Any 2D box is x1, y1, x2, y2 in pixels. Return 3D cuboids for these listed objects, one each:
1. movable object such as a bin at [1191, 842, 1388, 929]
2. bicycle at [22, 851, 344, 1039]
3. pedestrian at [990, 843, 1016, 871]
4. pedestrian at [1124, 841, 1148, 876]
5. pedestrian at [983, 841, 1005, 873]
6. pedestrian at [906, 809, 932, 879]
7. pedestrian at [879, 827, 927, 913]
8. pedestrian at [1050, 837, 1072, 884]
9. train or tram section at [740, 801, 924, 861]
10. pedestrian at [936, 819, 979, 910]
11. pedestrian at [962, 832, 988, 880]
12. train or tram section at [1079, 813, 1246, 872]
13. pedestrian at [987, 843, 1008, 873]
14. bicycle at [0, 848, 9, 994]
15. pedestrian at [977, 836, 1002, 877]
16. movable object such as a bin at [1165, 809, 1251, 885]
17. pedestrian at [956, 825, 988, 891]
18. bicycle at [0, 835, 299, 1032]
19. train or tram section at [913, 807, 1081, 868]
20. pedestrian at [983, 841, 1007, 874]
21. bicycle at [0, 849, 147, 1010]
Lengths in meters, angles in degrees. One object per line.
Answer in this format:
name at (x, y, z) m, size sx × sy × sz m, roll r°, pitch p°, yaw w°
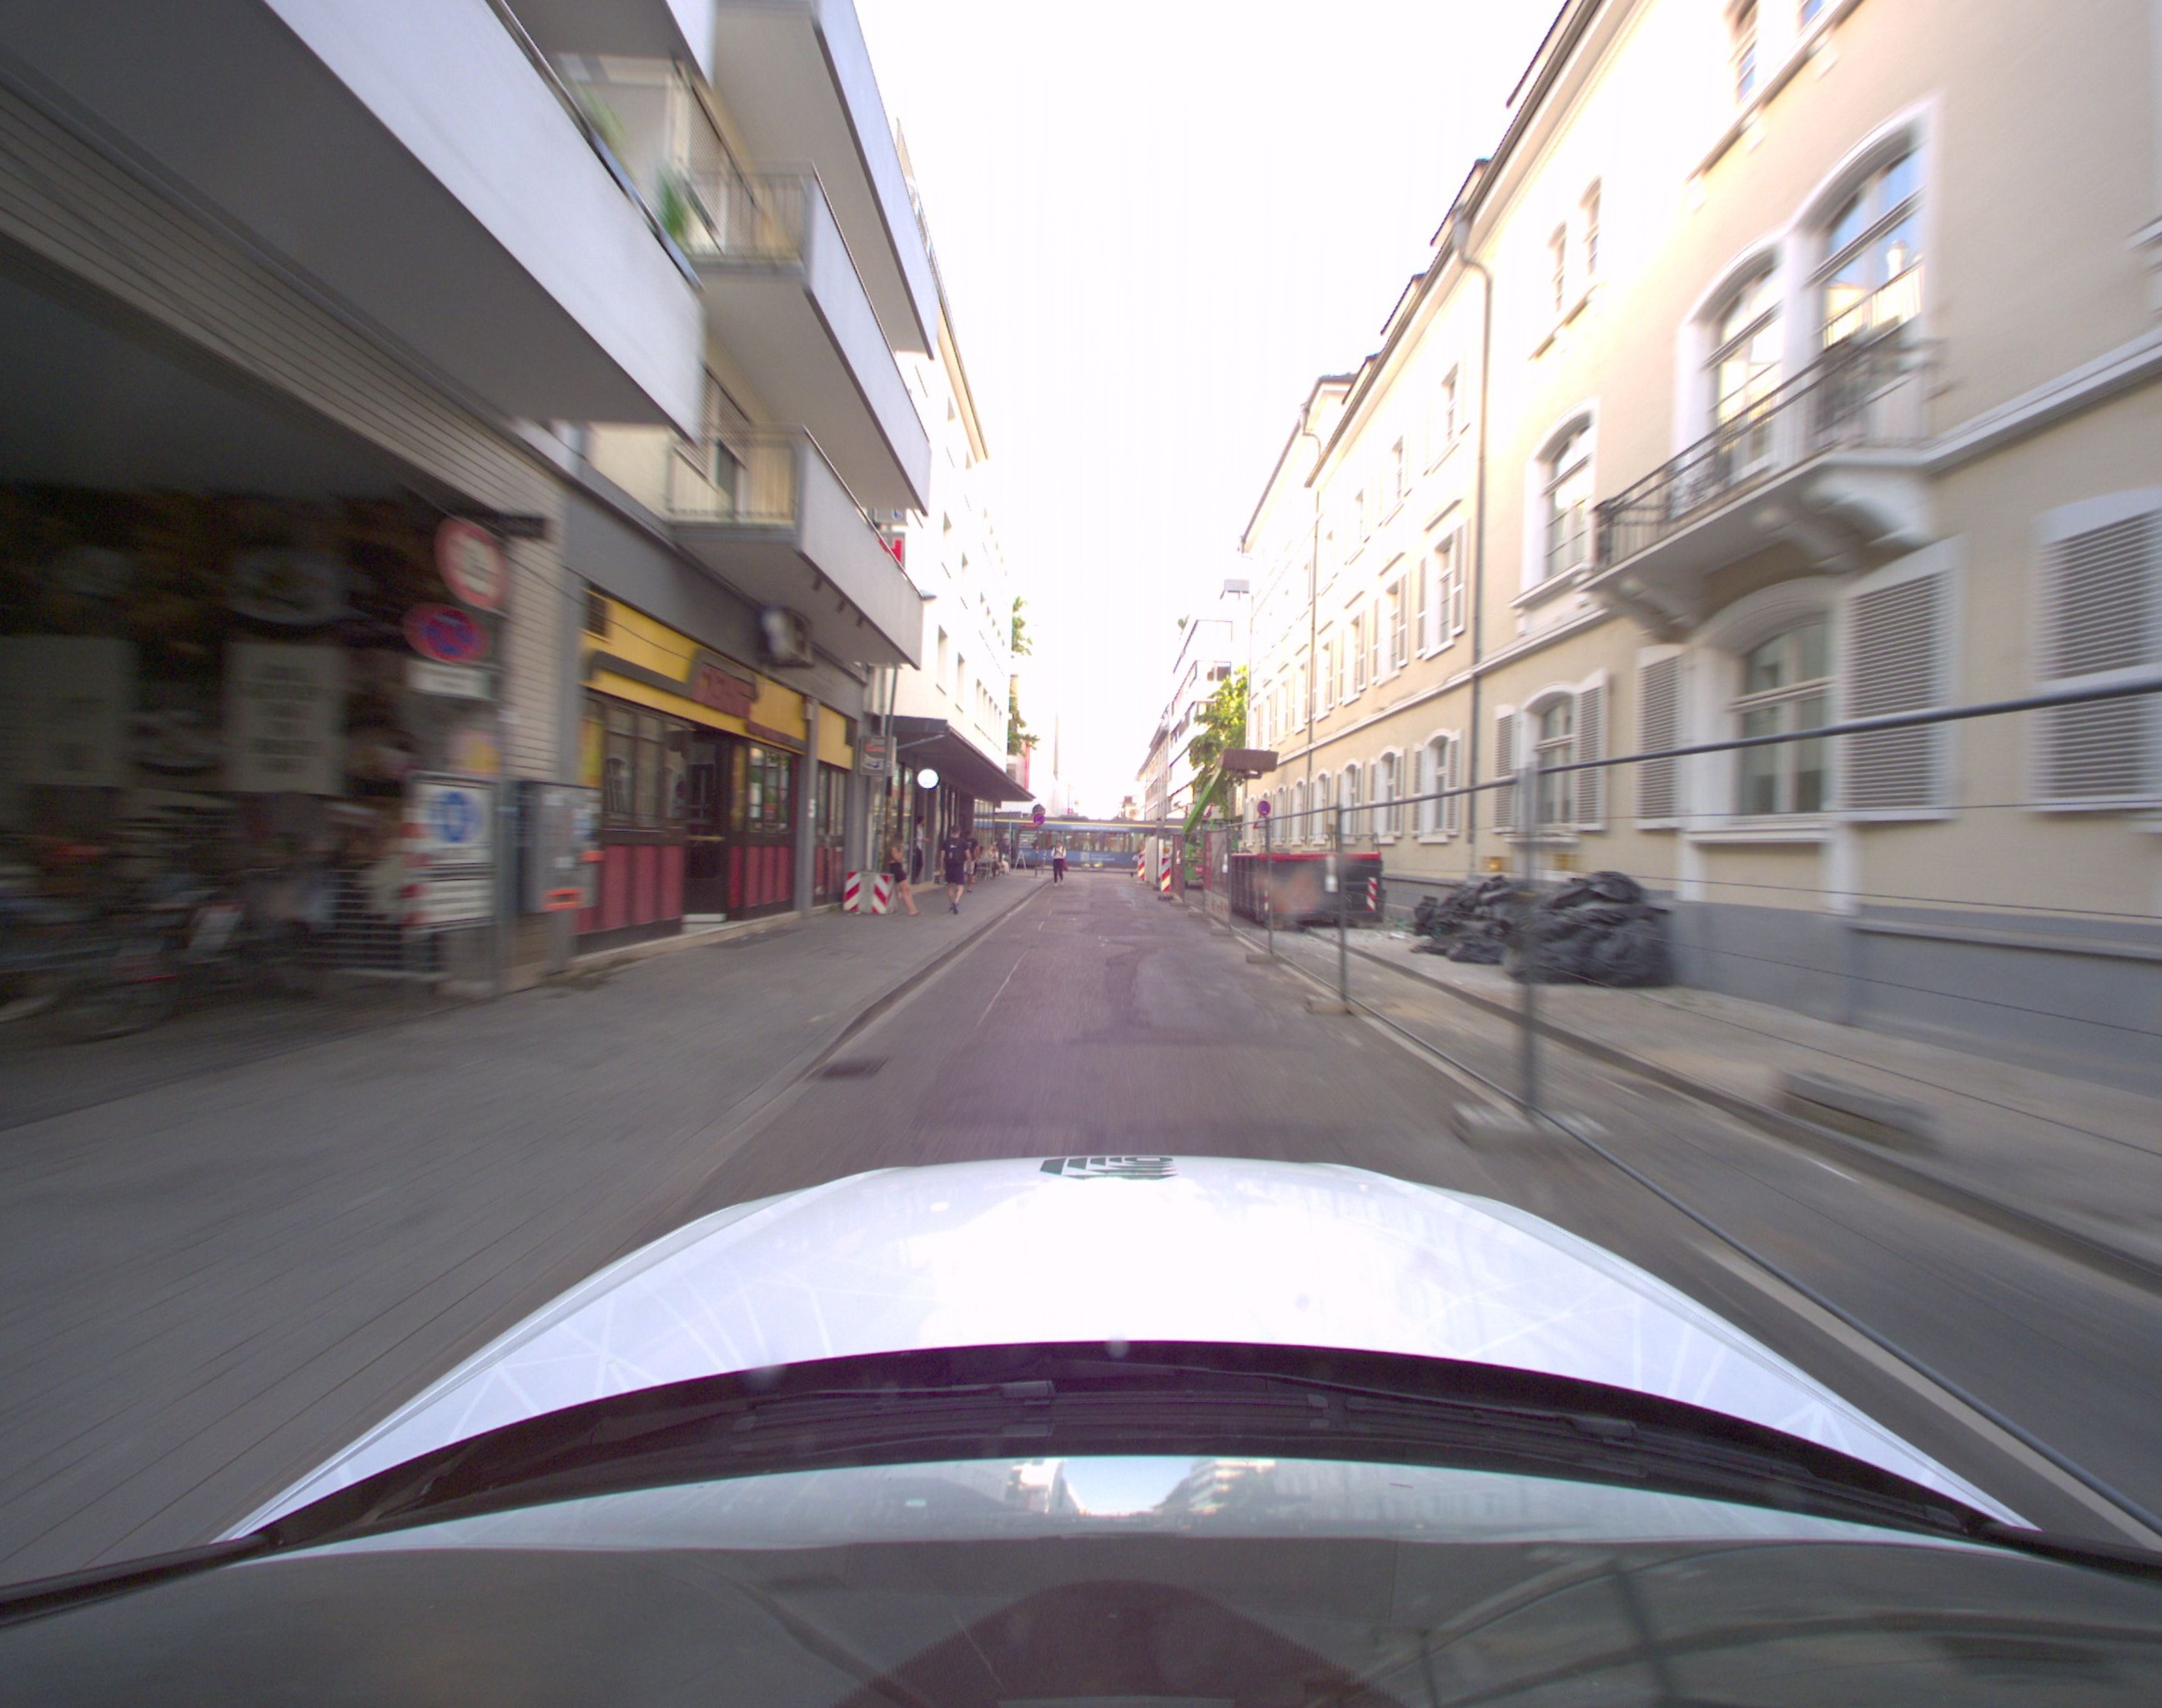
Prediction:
movable object such as a bin at (4.627, 0.568, 19.818) m, size 2.882 × 1.664 × 7.292 m, roll 1°, pitch 1°, yaw 0°
bicycle at (-5.769, 0.515, 5.365) m, size 0.441 × 1.038 × 1.464 m, roll 3°, pitch 1°, yaw 0°
pedestrian at (-3.436, 0.141, 35.889) m, size 0.697 × 1.219 × 0.847 m, roll 2°, pitch 1°, yaw 38°
pedestrian at (2.743, 0.211, 40.835) m, size 1.137 × 1.739 × 0.759 m, roll 0°, pitch 0°, yaw 2°
pedestrian at (-3.598, 0.113, 33.726) m, size 0.701 × 1.239 × 0.779 m, roll 5°, pitch 0°, yaw 4°
pedestrian at (-4.258, -0.262, 21.413) m, size 0.542 × 1.810 × 0.613 m, roll 0°, pitch 0°, yaw 0°
pedestrian at (-3.377, 0.295, 15.522) m, size 0.707 × 1.578 × 0.613 m, roll 3°, pitch 0°, yaw -2°
pedestrian at (-0.737, 0.232, 30.163) m, size 0.754 × 1.739 × 0.785 m, roll -1°, pitch 0°, yaw 2°
train or tram section at (-15.781, -1.439, 52.138) m, size 10.771 × 3.523 × 3.014 m, roll 1°, pitch 0°, yaw 0°
pedestrian at (-2.519, 0.206, 16.690) m, size 0.712 × 1.810 × 0.933 m, roll 0°, pitch 0°, yaw 1°
pedestrian at (-3.575, 0.050, 27.439) m, size 0.660 × 1.569 × 0.633 m, roll 3°, pitch 1°, yaw -25°
train or tram section at (5.086, -0.721, 52.137) m, size 10.302 × 3.523 × 3.026 m, roll 1°, pitch 0°, yaw 0°
pedestrian at (-3.554, 0.150, 34.592) m, size 0.701 × 1.195 × 0.692 m, roll 5°, pitch 1°, yaw 4°
bicycle at (-7.771, 0.468, 4.881) m, size 0.450 × 1.017 × 1.654 m, roll 2°, pitch 1°, yaw 1°
pedestrian at (-3.544, 0.098, 31.621) m, size 0.700 × 1.547 × 0.863 m, roll 2°, pitch 0°, yaw 8°
movable object such as a bin at (5.172, -0.311, 34.156) m, size 2.628 × 2.872 × 5.562 m, roll 1°, pitch 1°, yaw -1°
pedestrian at (-3.065, 0.109, 22.949) m, size 0.701 × 1.782 × 0.933 m, roll 2°, pitch 0°, yaw 1°
bicycle at (-6.470, 0.454, 5.580) m, size 0.425 × 1.139 × 1.793 m, roll 2°, pitch 1°, yaw 1°
train or tram section at (-5.226, -1.012, 52.113) m, size 10.333 × 3.524 × 3.017 m, roll 1°, pitch -1°, yaw 0°
pedestrian at (-3.454, 0.149, 32.671) m, size 0.707 × 1.286 × 0.854 m, roll 2°, pitch 0°, yaw -23°
bicycle at (-7.163, 0.489, 5.155) m, size 0.425 × 1.017 × 1.751 m, roll 2°, pitch 1°, yaw 1°
